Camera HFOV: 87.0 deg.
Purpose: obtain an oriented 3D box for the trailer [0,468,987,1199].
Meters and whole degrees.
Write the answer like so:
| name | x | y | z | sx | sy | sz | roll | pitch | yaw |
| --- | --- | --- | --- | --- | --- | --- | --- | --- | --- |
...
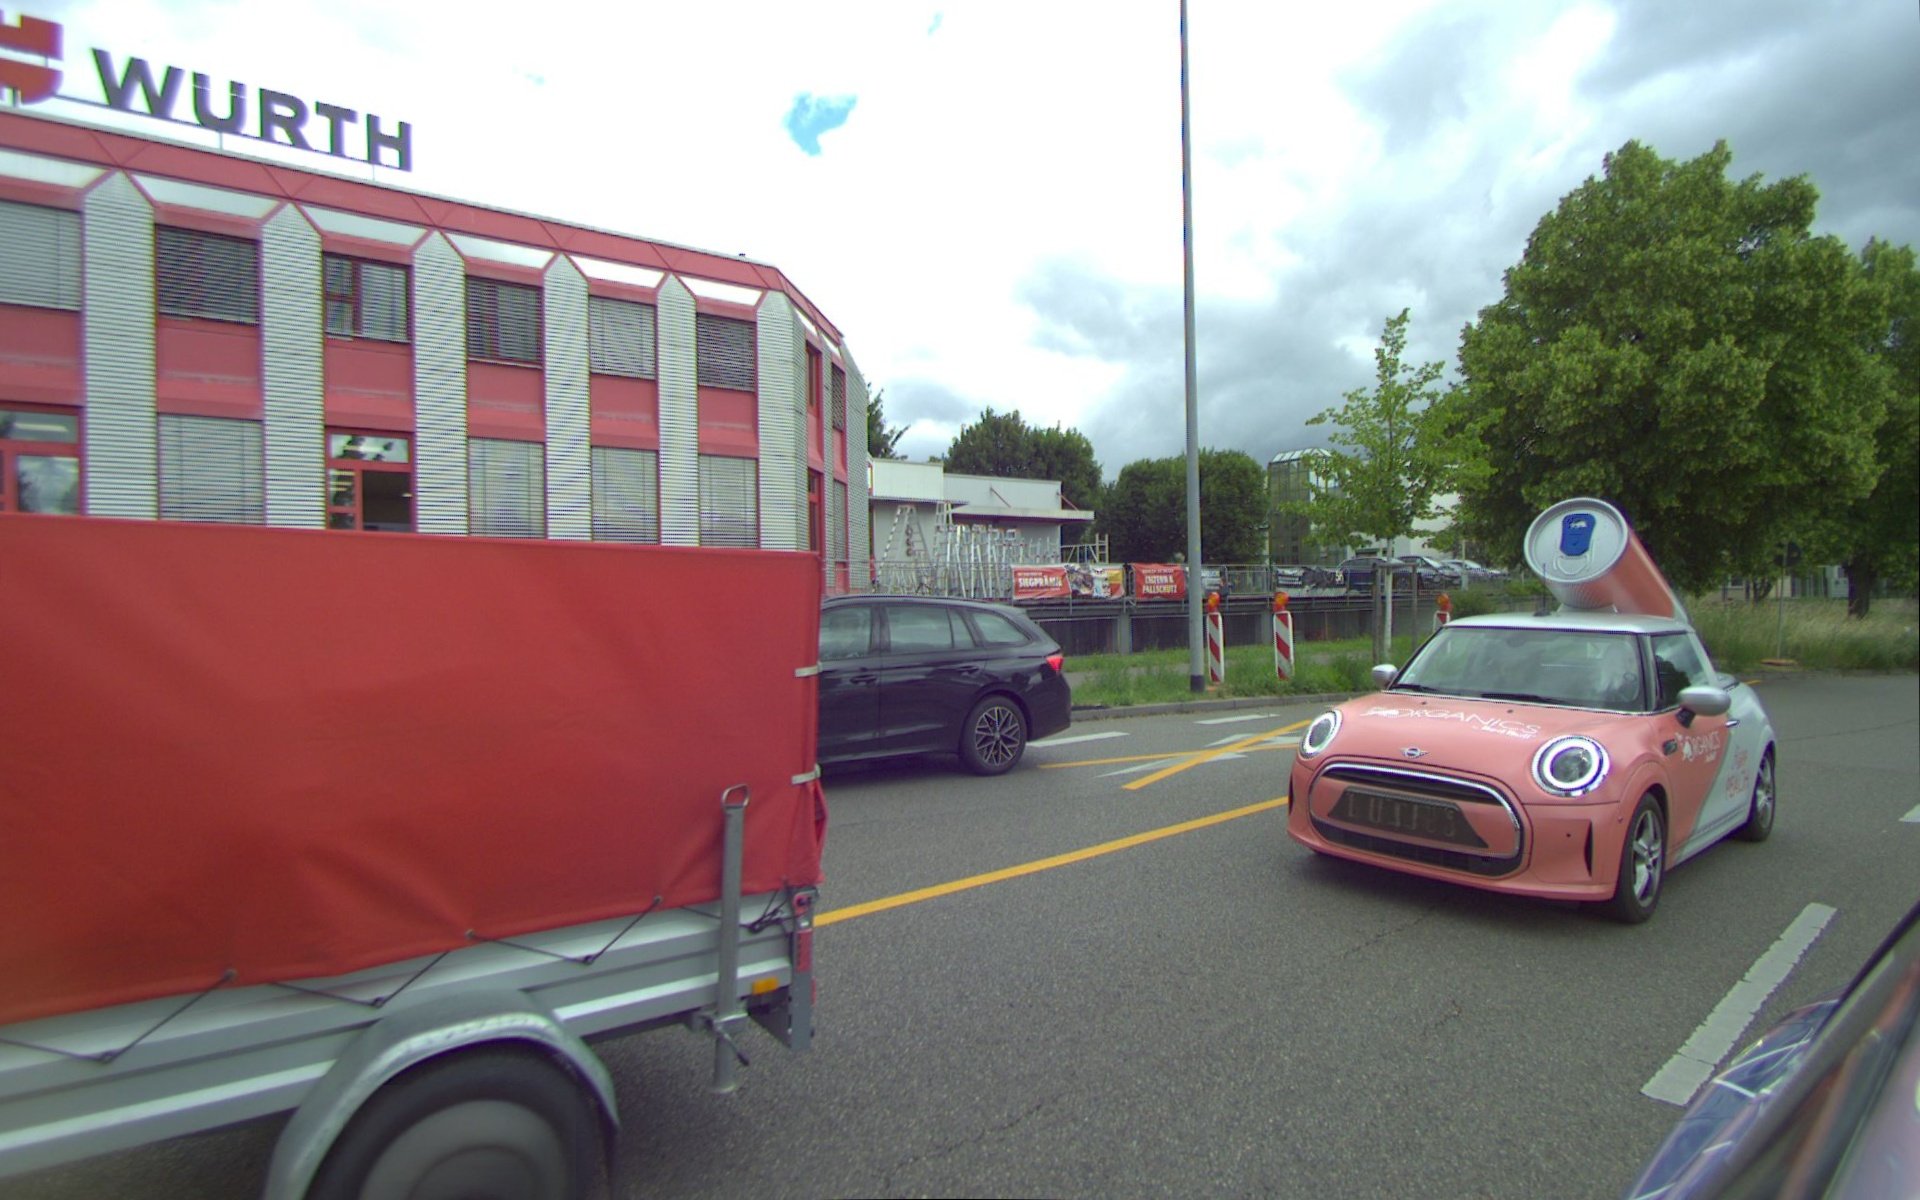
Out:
| name | x | y | z | sx | sy | sz | roll | pitch | yaw |
| --- | --- | --- | --- | --- | --- | --- | --- | --- | --- |
| trailer | -1.630 | 0.596 | 2.352 | 3.243 | 1.614 | 1.412 | 0 | 0 | -39 |

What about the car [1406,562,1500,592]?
| name | x | y | z | sx | sy | sz | roll | pitch | yaw |
| --- | --- | --- | --- | --- | --- | --- | --- | --- | --- |
| car | 23.880 | -1.109 | 49.118 | 1.721 | 1.381 | 3.769 | 0 | 1 | -32 |

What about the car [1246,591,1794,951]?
| name | x | y | z | sx | sy | sz | roll | pitch | yaw |
| --- | --- | --- | --- | --- | --- | --- | --- | --- | --- |
| car | 3.470 | 0.689 | 6.006 | 3.632 | 1.476 | 1.721 | 0 | 0 | -41 |

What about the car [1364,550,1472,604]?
| name | x | y | z | sx | sy | sz | roll | pitch | yaw |
| --- | --- | --- | --- | --- | --- | --- | --- | --- | --- |
| car | 18.605 | -0.888 | 41.258 | 1.611 | 1.984 | 3.768 | 2 | -2 | -32 |

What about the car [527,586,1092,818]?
| name | x | y | z | sx | sy | sz | roll | pitch | yaw |
| --- | --- | --- | --- | --- | --- | --- | --- | --- | --- |
| car | -1.114 | 0.633 | 8.274 | 4.196 | 1.451 | 1.842 | 0 | 0 | -34 |
